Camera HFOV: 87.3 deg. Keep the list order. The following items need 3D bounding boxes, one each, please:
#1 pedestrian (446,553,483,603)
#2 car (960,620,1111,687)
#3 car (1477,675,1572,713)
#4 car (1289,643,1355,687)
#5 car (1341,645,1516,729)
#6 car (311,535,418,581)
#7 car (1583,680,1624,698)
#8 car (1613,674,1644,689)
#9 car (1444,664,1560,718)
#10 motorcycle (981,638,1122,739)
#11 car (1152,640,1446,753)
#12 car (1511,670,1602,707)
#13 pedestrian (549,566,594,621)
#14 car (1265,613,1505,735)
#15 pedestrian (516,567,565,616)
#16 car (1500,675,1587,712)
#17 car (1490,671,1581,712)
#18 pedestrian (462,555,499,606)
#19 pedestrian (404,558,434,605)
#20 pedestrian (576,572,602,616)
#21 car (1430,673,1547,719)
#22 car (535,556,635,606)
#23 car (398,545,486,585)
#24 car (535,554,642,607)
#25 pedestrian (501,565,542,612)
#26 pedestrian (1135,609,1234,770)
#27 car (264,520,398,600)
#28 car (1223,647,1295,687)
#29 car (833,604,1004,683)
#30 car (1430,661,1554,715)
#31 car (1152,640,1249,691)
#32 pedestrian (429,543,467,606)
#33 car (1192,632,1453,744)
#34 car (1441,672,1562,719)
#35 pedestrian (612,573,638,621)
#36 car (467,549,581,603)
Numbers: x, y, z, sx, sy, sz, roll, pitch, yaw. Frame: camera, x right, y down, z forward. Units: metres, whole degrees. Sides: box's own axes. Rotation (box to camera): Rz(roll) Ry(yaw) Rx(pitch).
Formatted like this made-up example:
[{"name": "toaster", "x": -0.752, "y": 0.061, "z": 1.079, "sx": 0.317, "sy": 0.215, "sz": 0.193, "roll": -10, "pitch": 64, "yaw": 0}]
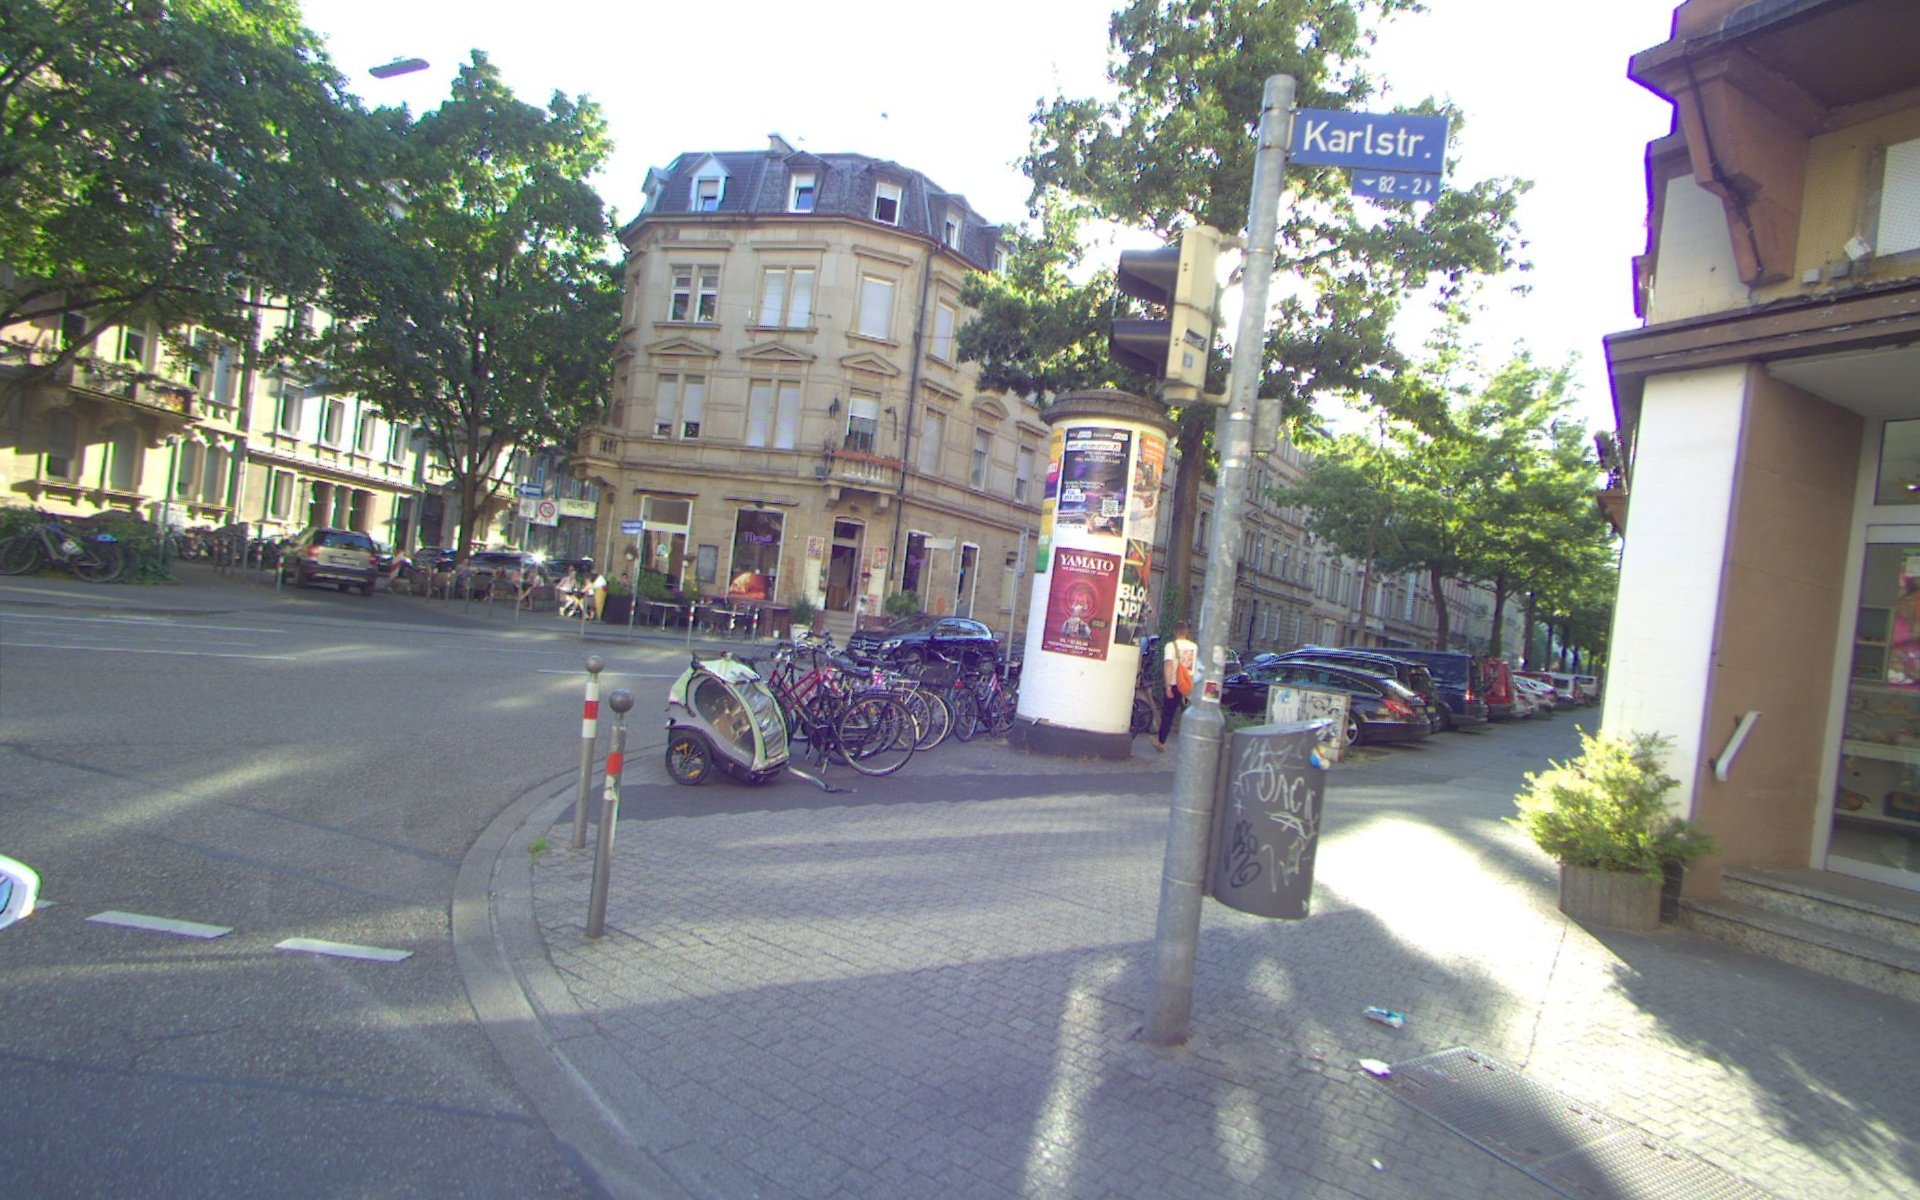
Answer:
[{"name": "pedestrian", "x": -15.399, "y": -0.670, "z": 31.252, "sx": 0.761, "sy": 1.459, "sz": 0.660, "roll": 5, "pitch": 0, "yaw": -42}, {"name": "car", "x": 2.194, "y": 1.538, "z": 28.050, "sx": 1.740, "sy": 1.469, "sz": 4.530, "roll": 6, "pitch": -2, "yaw": 41}, {"name": "car", "x": 28.799, "y": 4.795, "z": 51.364, "sx": 3.962, "sy": 1.485, "sz": 1.729, "roll": 4, "pitch": -2, "yaw": 36}, {"name": "car", "x": 19.614, "y": 3.554, "z": 54.332, "sx": 1.809, "sy": 1.967, "sz": 5.244, "roll": 9, "pitch": 1, "yaw": 35}, {"name": "car", "x": 14.512, "y": 2.666, "z": 31.242, "sx": 4.615, "sy": 2.057, "sz": 1.874, "roll": 4, "pitch": -2, "yaw": 33}, {"name": "car", "x": -23.996, "y": -1.655, "z": 40.731, "sx": 1.893, "sy": 1.393, "sz": 3.753, "roll": 7, "pitch": -1, "yaw": 2}, {"name": "car", "x": 72.886, "y": 10.047, "z": 113.946, "sx": 3.803, "sy": 1.593, "sz": 1.712, "roll": 4, "pitch": -1, "yaw": 35}, {"name": "car", "x": 116.047, "y": 14.183, "z": 174.628, "sx": 3.947, "sy": 1.882, "sz": 1.741, "roll": 8, "pitch": 1, "yaw": 44}, {"name": "car", "x": 24.381, "y": 4.037, "z": 45.285, "sx": 4.388, "sy": 1.948, "sz": 1.844, "roll": 3, "pitch": -1, "yaw": 34}, {"name": "motorcycle", "x": 1.304, "y": 1.252, "z": 14.552, "sx": 1.875, "sy": 1.249, "sz": 0.683, "roll": 4, "pitch": -1, "yaw": 37}, {"name": "car", "x": 6.146, "y": 1.715, "z": 18.564, "sx": 4.731, "sy": 1.429, "sz": 1.844, "roll": 5, "pitch": -2, "yaw": 38}, {"name": "car", "x": 39.952, "y": 5.910, "z": 67.473, "sx": 4.996, "sy": 1.949, "sz": 1.829, "roll": 4, "pitch": -1, "yaw": 36}, {"name": "pedestrian", "x": -10.899, "y": -0.180, "z": 28.260, "sx": 0.743, "sy": 1.428, "sz": 0.727, "roll": 7, "pitch": 0, "yaw": 24}, {"name": "car", "x": 10.400, "y": 1.768, "z": 24.799, "sx": 4.958, "sy": 2.242, "sz": 1.987, "roll": 7, "pitch": 0, "yaw": 35}, {"name": "pedestrian", "x": -12.016, "y": -0.255, "z": 28.803, "sx": 1.008, "sy": 1.264, "sz": 0.747, "roll": 7, "pitch": 1, "yaw": 33}, {"name": "car", "x": 33.377, "y": 5.309, "z": 57.697, "sx": 4.162, "sy": 1.630, "sz": 1.832, "roll": 4, "pitch": -1, "yaw": 29}, {"name": "car", "x": 31.808, "y": 5.041, "z": 55.622, "sx": 4.169, "sy": 1.798, "sz": 1.829, "roll": 4, "pitch": -1, "yaw": 35}, {"name": "pedestrian", "x": -14.535, "y": -0.583, "z": 30.502, "sx": 0.761, "sy": 1.459, "sz": 0.660, "roll": 5, "pitch": 0, "yaw": -42}, {"name": "pedestrian", "x": -16.040, "y": -0.548, "z": 29.834, "sx": 0.568, "sy": 1.337, "sz": 0.499, "roll": 5, "pitch": 1, "yaw": -44}, {"name": "pedestrian", "x": -11.243, "y": -0.178, "z": 30.484, "sx": 0.474, "sy": 1.264, "sz": 0.432, "roll": 7, "pitch": 1, "yaw": 34}, {"name": "car", "x": 21.632, "y": 3.896, "z": 41.203, "sx": 3.962, "sy": 1.451, "sz": 1.789, "roll": 3, "pitch": -2, "yaw": 36}, {"name": "car", "x": -16.853, "y": -0.857, "z": 45.220, "sx": 3.950, "sy": 1.704, "sz": 1.988, "roll": 7, "pitch": 0, "yaw": -25}, {"name": "car", "x": -23.588, "y": -1.558, "z": 45.970, "sx": 1.893, "sy": 1.393, "sz": 3.753, "roll": 7, "pitch": -1, "yaw": 2}, {"name": "car", "x": -15.731, "y": -0.823, "z": 42.763, "sx": 3.938, "sy": 1.704, "sz": 1.994, "roll": 7, "pitch": 0, "yaw": -15}, {"name": "pedestrian", "x": -12.763, "y": -0.335, "z": 29.290, "sx": 0.695, "sy": 1.264, "sz": 0.747, "roll": 7, "pitch": 1, "yaw": 34}, {"name": "pedestrian", "x": 2.900, "y": 1.127, "z": 13.132, "sx": 0.827, "sy": 1.922, "sz": 1.118, "roll": 7, "pitch": 0, "yaw": 0}, {"name": "car", "x": -17.015, "y": -1.111, "z": 27.142, "sx": 3.946, "sy": 1.704, "sz": 1.990, "roll": 6, "pitch": 0, "yaw": 43}, {"name": "car", "x": 13.736, "y": 3.098, "z": 46.124, "sx": 1.738, "sy": 1.519, "sz": 4.044, "roll": 6, "pitch": -1, "yaw": 38}, {"name": "car", "x": -0.914, "y": 1.100, "z": 24.342, "sx": 1.739, "sy": 1.505, "sz": 4.122, "roll": 6, "pitch": -1, "yaw": 40}, {"name": "car", "x": 20.592, "y": 3.396, "z": 38.983, "sx": 3.960, "sy": 1.647, "sz": 1.800, "roll": 4, "pitch": -2, "yaw": 34}, {"name": "car", "x": 8.714, "y": 2.388, "z": 36.282, "sx": 1.738, "sy": 1.519, "sz": 4.043, "roll": 6, "pitch": -1, "yaw": 39}, {"name": "pedestrian", "x": -15.200, "y": -0.761, "z": 29.874, "sx": 0.761, "sy": 1.792, "sz": 0.565, "roll": 5, "pitch": 0, "yaw": -42}, {"name": "car", "x": 7.389, "y": 1.757, "z": 20.762, "sx": 4.633, "sy": 1.699, "sz": 1.845, "roll": 5, "pitch": -2, "yaw": 38}, {"name": "car", "x": 23.098, "y": 4.030, "z": 42.957, "sx": 4.292, "sy": 1.576, "sz": 1.843, "roll": 3, "pitch": -1, "yaw": 35}, {"name": "pedestrian", "x": -10.033, "y": -0.090, "z": 30.131, "sx": 0.474, "sy": 1.384, "sz": 0.433, "roll": 7, "pitch": 1, "yaw": 28}, {"name": "car", "x": -16.918, "y": -0.912, "z": 39.049, "sx": 3.794, "sy": 1.581, "sz": 1.789, "roll": 8, "pitch": 0, "yaw": -30}]
